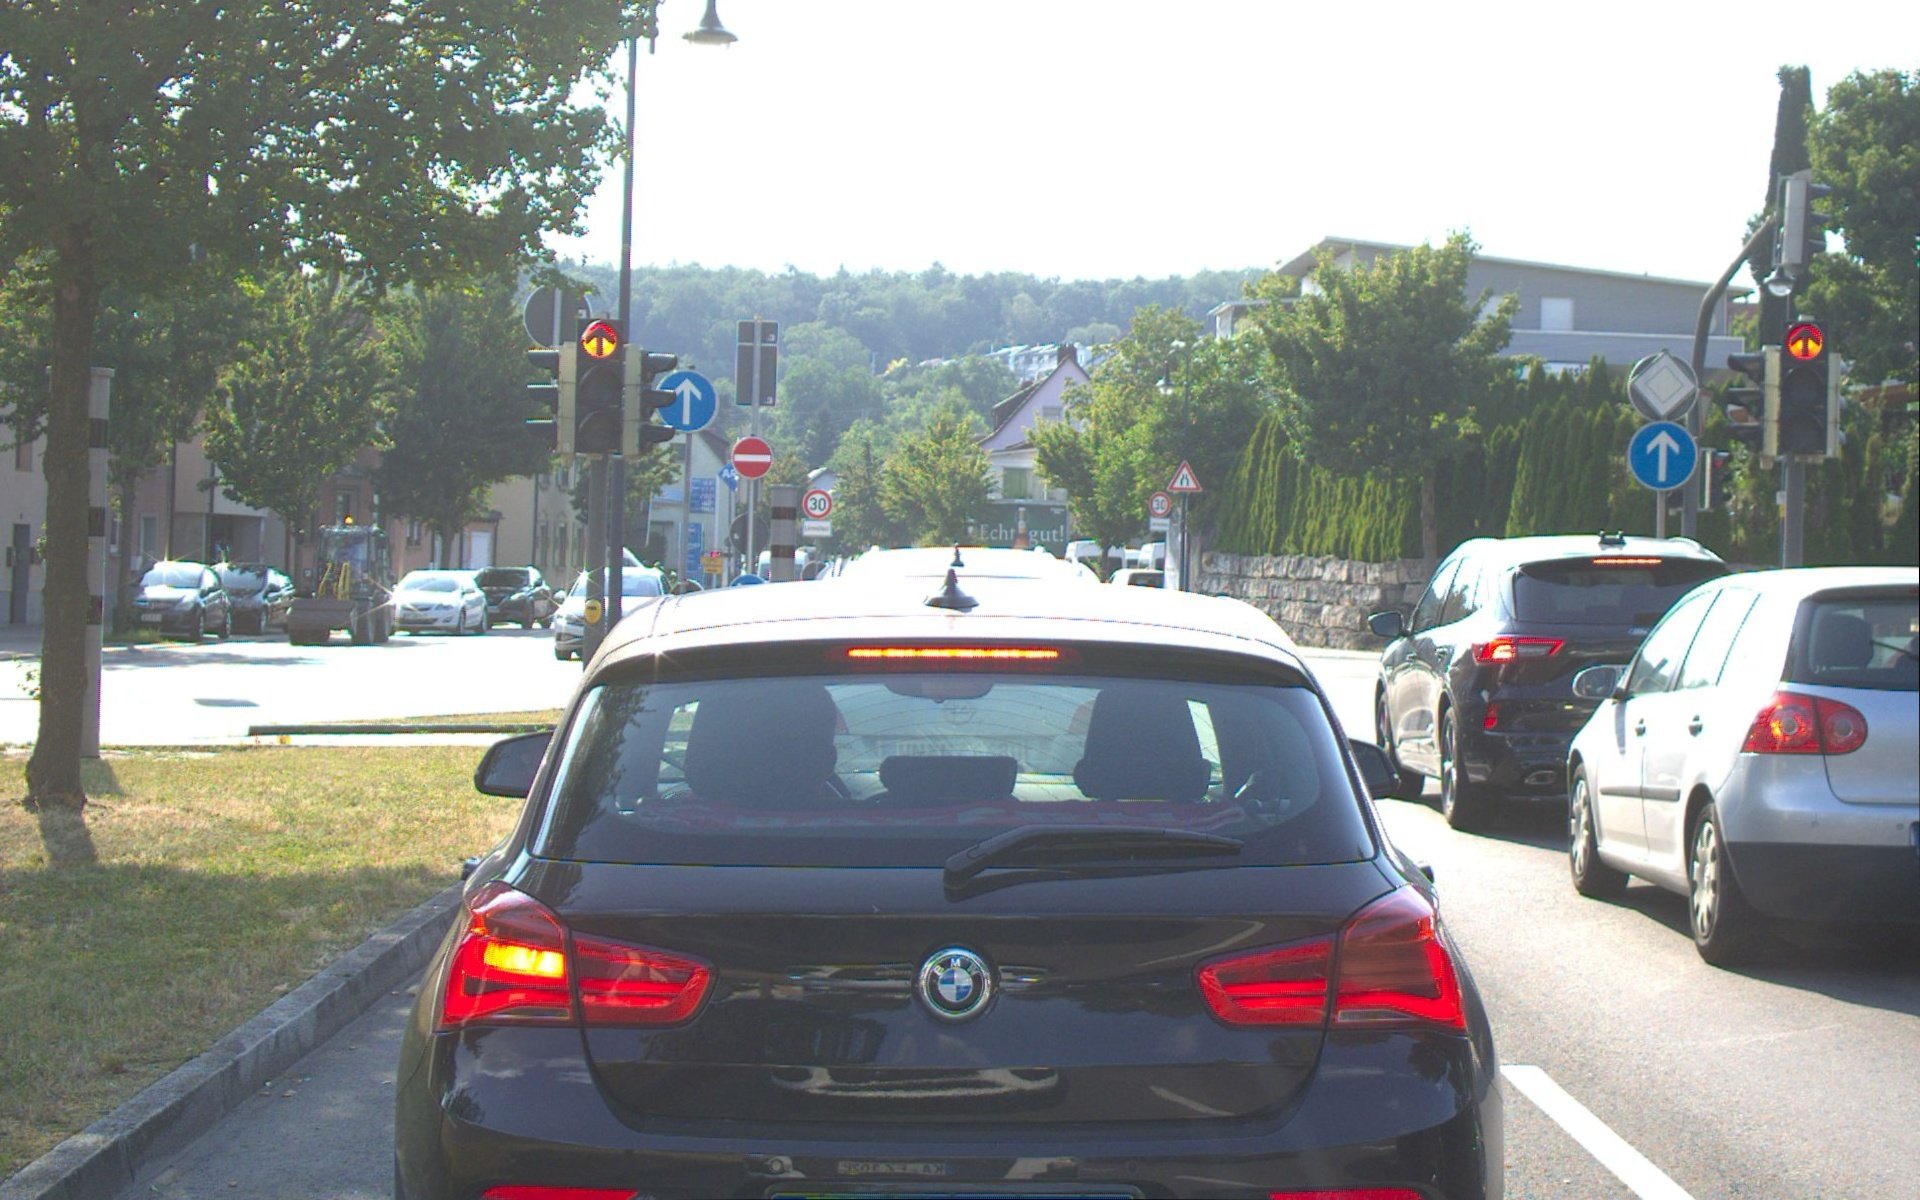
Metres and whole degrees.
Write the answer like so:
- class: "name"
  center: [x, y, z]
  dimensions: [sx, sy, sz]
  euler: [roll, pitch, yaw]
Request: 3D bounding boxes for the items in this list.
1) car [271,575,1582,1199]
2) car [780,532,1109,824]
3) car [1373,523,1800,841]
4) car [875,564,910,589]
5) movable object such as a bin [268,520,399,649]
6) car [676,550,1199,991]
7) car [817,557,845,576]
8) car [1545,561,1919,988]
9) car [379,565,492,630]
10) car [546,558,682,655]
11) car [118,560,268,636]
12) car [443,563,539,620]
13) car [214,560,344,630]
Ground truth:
- class: "car"
  center: [-0.039, 0.677, 6.854]
  dimensions: [1.788, 1.393, 4.281]
  euler: [-1, 1, 0]
- class: "car"
  center: [-0.081, 0.393, 21.039]
  dimensions: [1.788, 1.588, 4.281]
  euler: [-1, 1, 0]
- class: "car"
  center: [3.528, 0.399, 20.019]
  dimensions: [1.761, 1.650, 3.903]
  euler: [-1, 1, 0]
- class: "car"
  center: [-3.954, -1.364, 202.582]
  dimensions: [1.737, 1.296, 3.799]
  euler: [5, 1, 2]
- class: "movable object such as a bin"
  center: [-12.239, -0.318, 67.412]
  dimensions: [1.736, 2.433, 4.450]
  euler: [0, 1, 0]
- class: "car"
  center: [-0.075, 0.558, 14.000]
  dimensions: [1.788, 1.488, 4.281]
  euler: [-1, 1, 0]
- class: "car"
  center: [-9.823, -2.554, 262.000]
  dimensions: [1.737, 1.296, 3.799]
  euler: [5, 1, 2]
- class: "car"
  center: [3.554, 0.577, 13.737]
  dimensions: [1.761, 1.421, 3.903]
  euler: [-1, 1, 0]
- class: "car"
  center: [-11.927, -0.079, 78.340]
  dimensions: [1.737, 1.296, 3.799]
  euler: [5, 1, 2]
- class: "car"
  center: [-5.591, 0.074, 55.920]
  dimensions: [1.839, 1.477, 4.000]
  euler: [1, 1, -1]
- class: "car"
  center: [-14.935, -0.061, 67.149]
  dimensions: [1.737, 1.296, 4.000]
  euler: [5, 1, 3]
- class: "car"
  center: [-12.208, -0.247, 89.621]
  dimensions: [1.737, 1.296, 3.799]
  euler: [5, 1, 2]
- class: "car"
  center: [-14.513, -0.118, 73.425]
  dimensions: [1.737, 1.296, 4.000]
  euler: [5, 1, 2]
